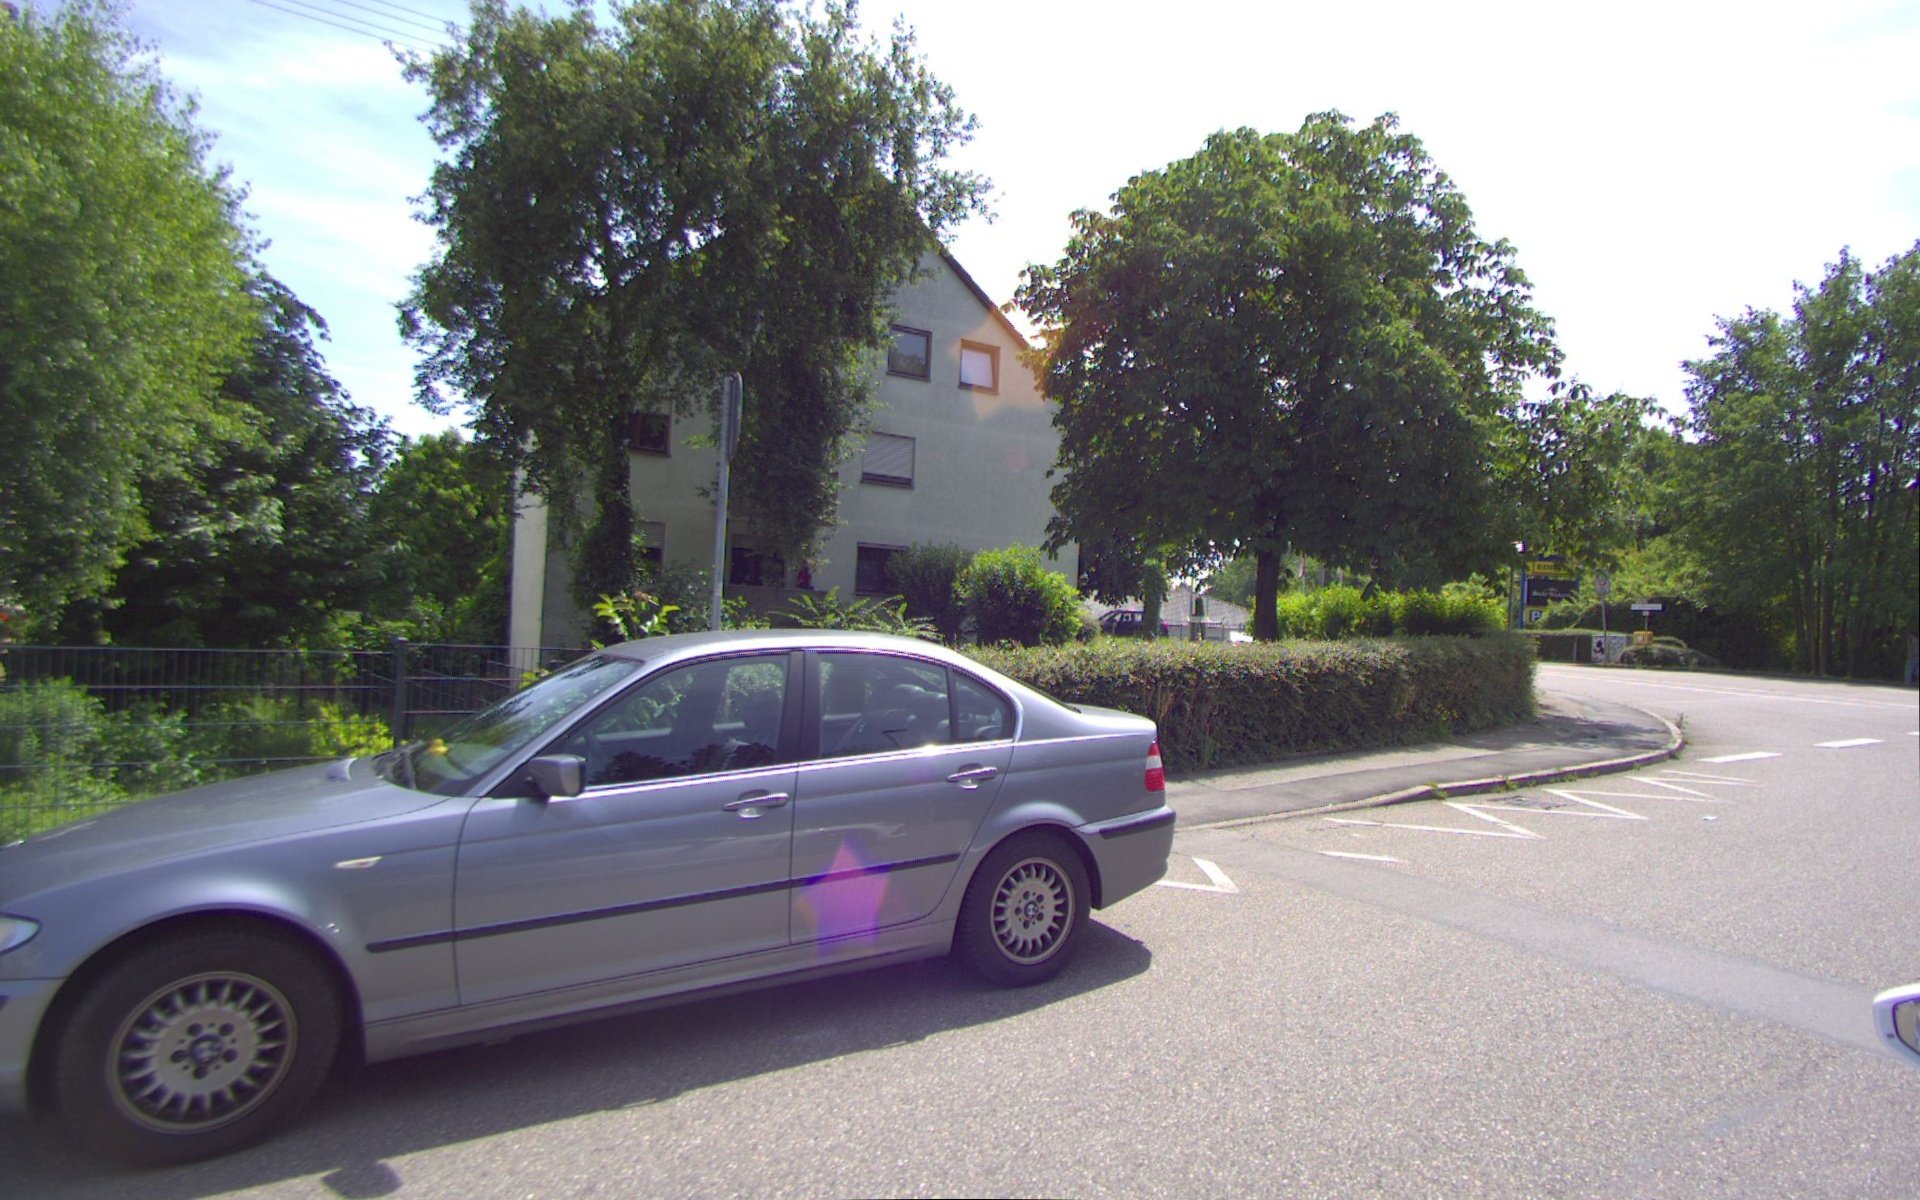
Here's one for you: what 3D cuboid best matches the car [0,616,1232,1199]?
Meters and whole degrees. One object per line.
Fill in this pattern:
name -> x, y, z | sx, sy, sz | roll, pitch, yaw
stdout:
car -> -1.104, 0.810, 4.151 | 4.357, 1.413, 1.772 | 2, -2, -30

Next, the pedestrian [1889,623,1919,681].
pedestrian -> 30.264, 1.660, 31.998 | 0.678, 1.800, 0.736 | 3, -3, -12

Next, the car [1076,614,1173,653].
car -> 6.614, 1.359, 40.373 | 3.545, 1.380, 1.394 | 3, -1, -12
